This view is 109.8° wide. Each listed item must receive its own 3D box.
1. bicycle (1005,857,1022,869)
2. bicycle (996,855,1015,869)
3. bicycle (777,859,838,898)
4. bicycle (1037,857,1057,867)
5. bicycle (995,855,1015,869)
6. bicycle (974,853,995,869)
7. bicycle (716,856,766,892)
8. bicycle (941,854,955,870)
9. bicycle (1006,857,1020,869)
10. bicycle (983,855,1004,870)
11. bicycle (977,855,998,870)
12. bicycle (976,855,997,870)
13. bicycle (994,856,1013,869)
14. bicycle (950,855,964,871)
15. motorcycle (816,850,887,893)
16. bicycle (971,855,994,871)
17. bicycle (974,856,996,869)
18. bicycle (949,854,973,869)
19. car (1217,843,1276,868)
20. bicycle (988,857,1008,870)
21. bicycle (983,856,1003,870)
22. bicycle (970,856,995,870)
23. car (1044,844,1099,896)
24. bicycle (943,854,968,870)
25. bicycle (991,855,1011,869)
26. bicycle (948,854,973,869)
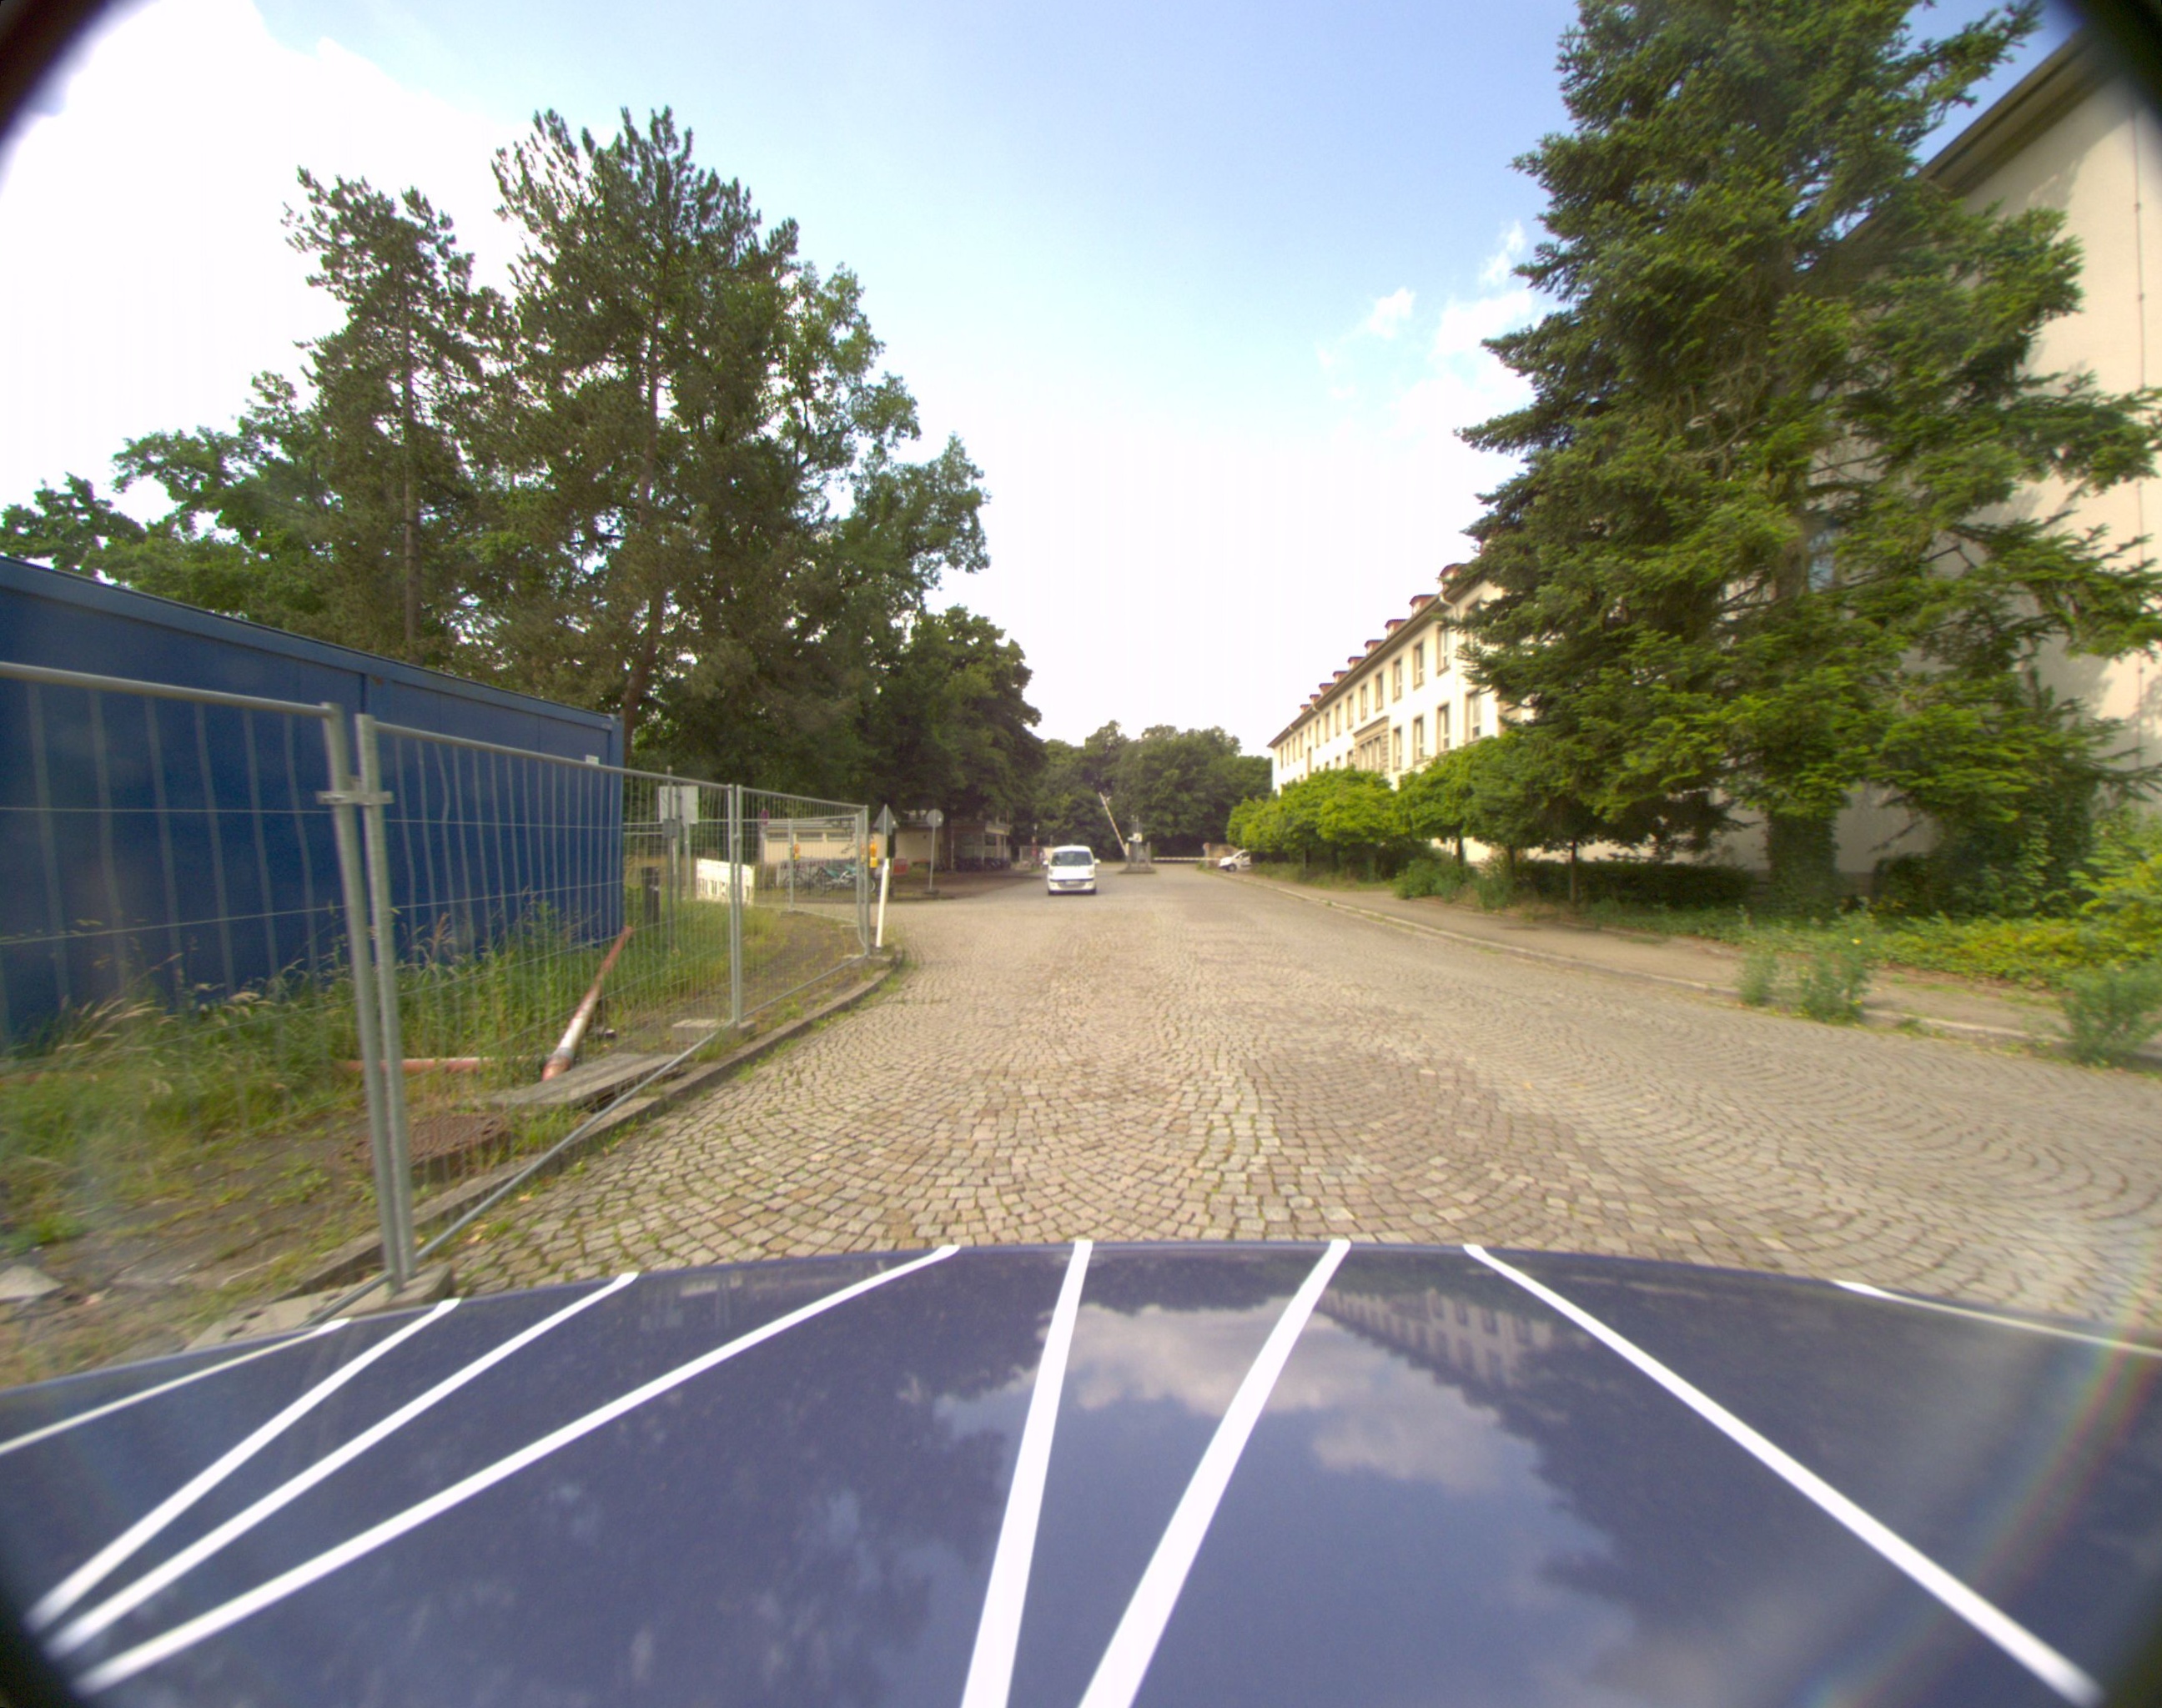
[{"bbox_3d":[-5.891,0.763,66.271,1.407,1.040,0.338,-1,1,-22],"label":"bicycle"},{"bbox_3d":[-6.497,0.708,65.245,1.617,1.134,0.356,1,1,-3],"label":"bicycle"},{"bbox_3d":[-8.763,0.754,24.329,1.900,1.190,0.657,1,1,23],"label":"bicycle"},{"bbox_3d":[-3.291,0.740,73.795,1.867,0.934,0.503,1,1,-1],"label":"bicycle"},{"bbox_3d":[-6.400,0.711,64.117,1.617,1.134,0.325,1,1,-3],"label":"bicycle"},{"bbox_3d":[-7.510,0.561,59.046,1.635,1.183,0.473,1,1,-9],"label":"bicycle"},{"bbox_3d":[-11.445,0.675,25.630,0.643,1.162,1.906,0,0,6],"label":"bicycle"},{"bbox_3d":[-9.482,0.592,54.245,0.598,1.110,1.635,1,0,3],"label":"bicycle"},{"bbox_3d":[-5.879,0.756,65.820,1.154,1.056,0.286,-1,1,-17],"label":"bicycle"},{"bbox_3d":[-7.007,0.655,60.983,1.635,1.183,0.498,1,1,-8],"label":"bicycle"},{"bbox_3d":[-7.412,0.673,60.204,1.635,1.183,0.419,1,1,-8],"label":"bicycle"},{"bbox_3d":[-7.405,0.679,59.590,1.635,1.183,0.419,1,1,-8],"label":"bicycle"},{"bbox_3d":[-6.599,0.717,64.583,1.617,1.134,0.356,1,1,-3],"label":"bicycle"},{"bbox_3d":[-8.858,0.628,54.204,0.598,1.110,1.635,1,0,3],"label":"bicycle"},{"bbox_3d":[-8.035,0.595,26.665,2.282,1.476,0.757,0,1,-1],"label":"motorcycle"},{"bbox_3d":[-7.351,0.670,56.819,1.682,1.102,0.338,1,1,-9],"label":"bicycle"},{"bbox_3d":[-7.381,0.669,58.379,1.637,0.970,0.322,1,1,-26],"label":"bicycle"},{"bbox_3d":[-9.362,0.573,59.265,1.745,1.158,0.608,1,1,0],"label":"bicycle"},{"bbox_3d":[13.387,0.128,61.644,4.311,1.796,1.820,-3,1,2],"label":"car"},{"bbox_3d":[-6.796,0.756,62.090,1.596,1.044,0.325,1,1,-3],"label":"bicycle"},{"bbox_3d":[-7.129,0.733,61.499,1.635,1.044,0.334,1,1,-10],"label":"bicycle"},{"bbox_3d":[-7.478,0.676,57.621,1.749,0.970,0.757,1,1,-26],"label":"bicycle"},{"bbox_3d":[-0.278,0.553,28.808,1.866,1.749,4.149,-2,0,1],"label":"car"},{"bbox_3d":[-9.453,0.594,57.319,1.745,1.158,0.608,1,1,0],"label":"bicycle"},{"bbox_3d":[-6.654,0.702,63.324,1.617,1.134,0.325,1,1,-3],"label":"bicycle"},{"bbox_3d":[-9.246,0.579,58.335,1.745,1.158,0.608,1,1,0],"label":"bicycle"}]
